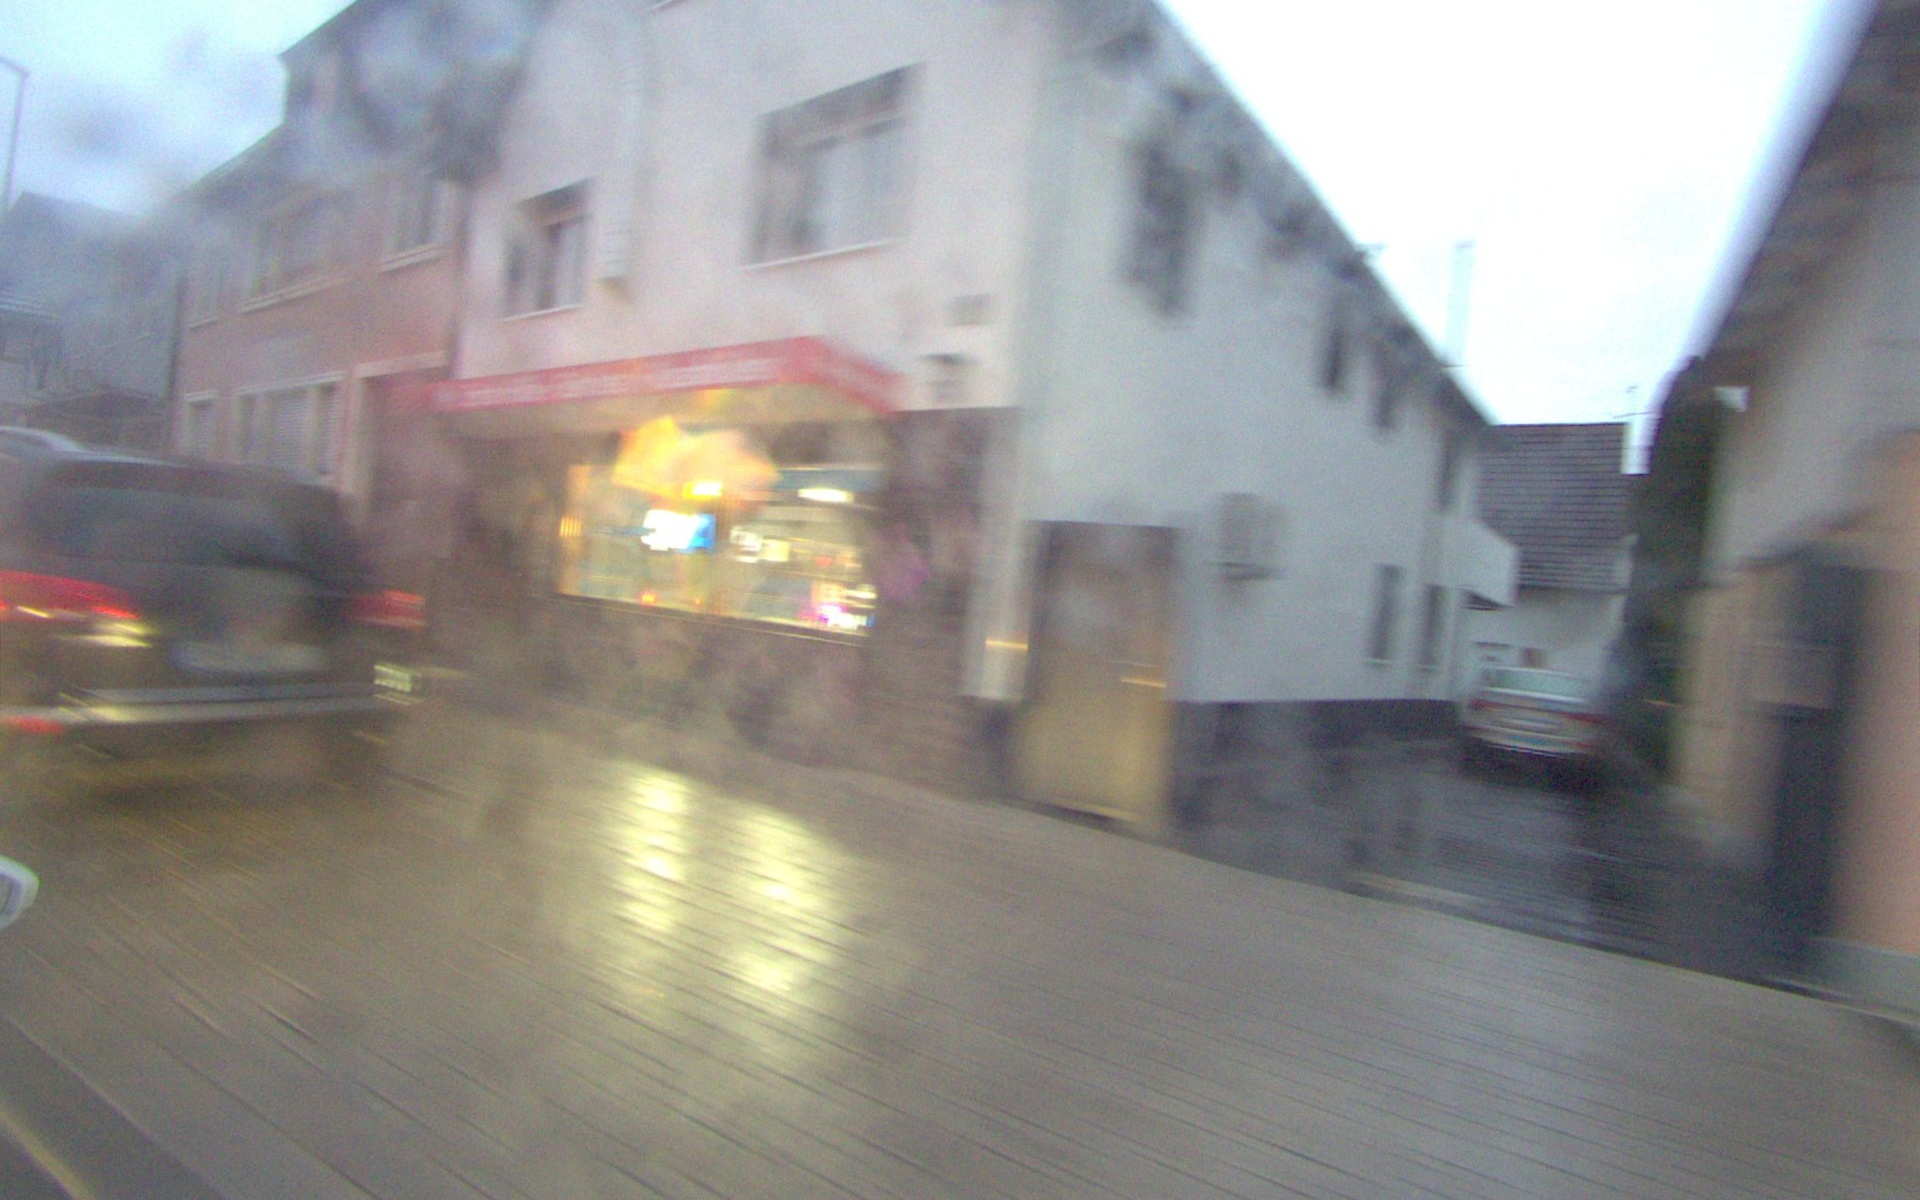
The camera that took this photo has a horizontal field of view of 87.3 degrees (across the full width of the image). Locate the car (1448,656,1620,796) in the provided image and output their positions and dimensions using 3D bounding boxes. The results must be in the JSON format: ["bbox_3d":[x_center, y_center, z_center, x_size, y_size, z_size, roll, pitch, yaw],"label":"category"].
[{"bbox_3d":[7.883,1.584,13.738,1.633,1.410,3.989,8,1,32],"label":"car"}]

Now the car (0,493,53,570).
[{"bbox_3d":[-22.309,-1.691,22.808,3.605,1.581,1.734,7,1,34],"label":"car"}]

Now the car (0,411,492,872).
[{"bbox_3d":[-4.845,-0.003,5.571,4.388,1.682,1.975,7,1,33],"label":"car"}]
